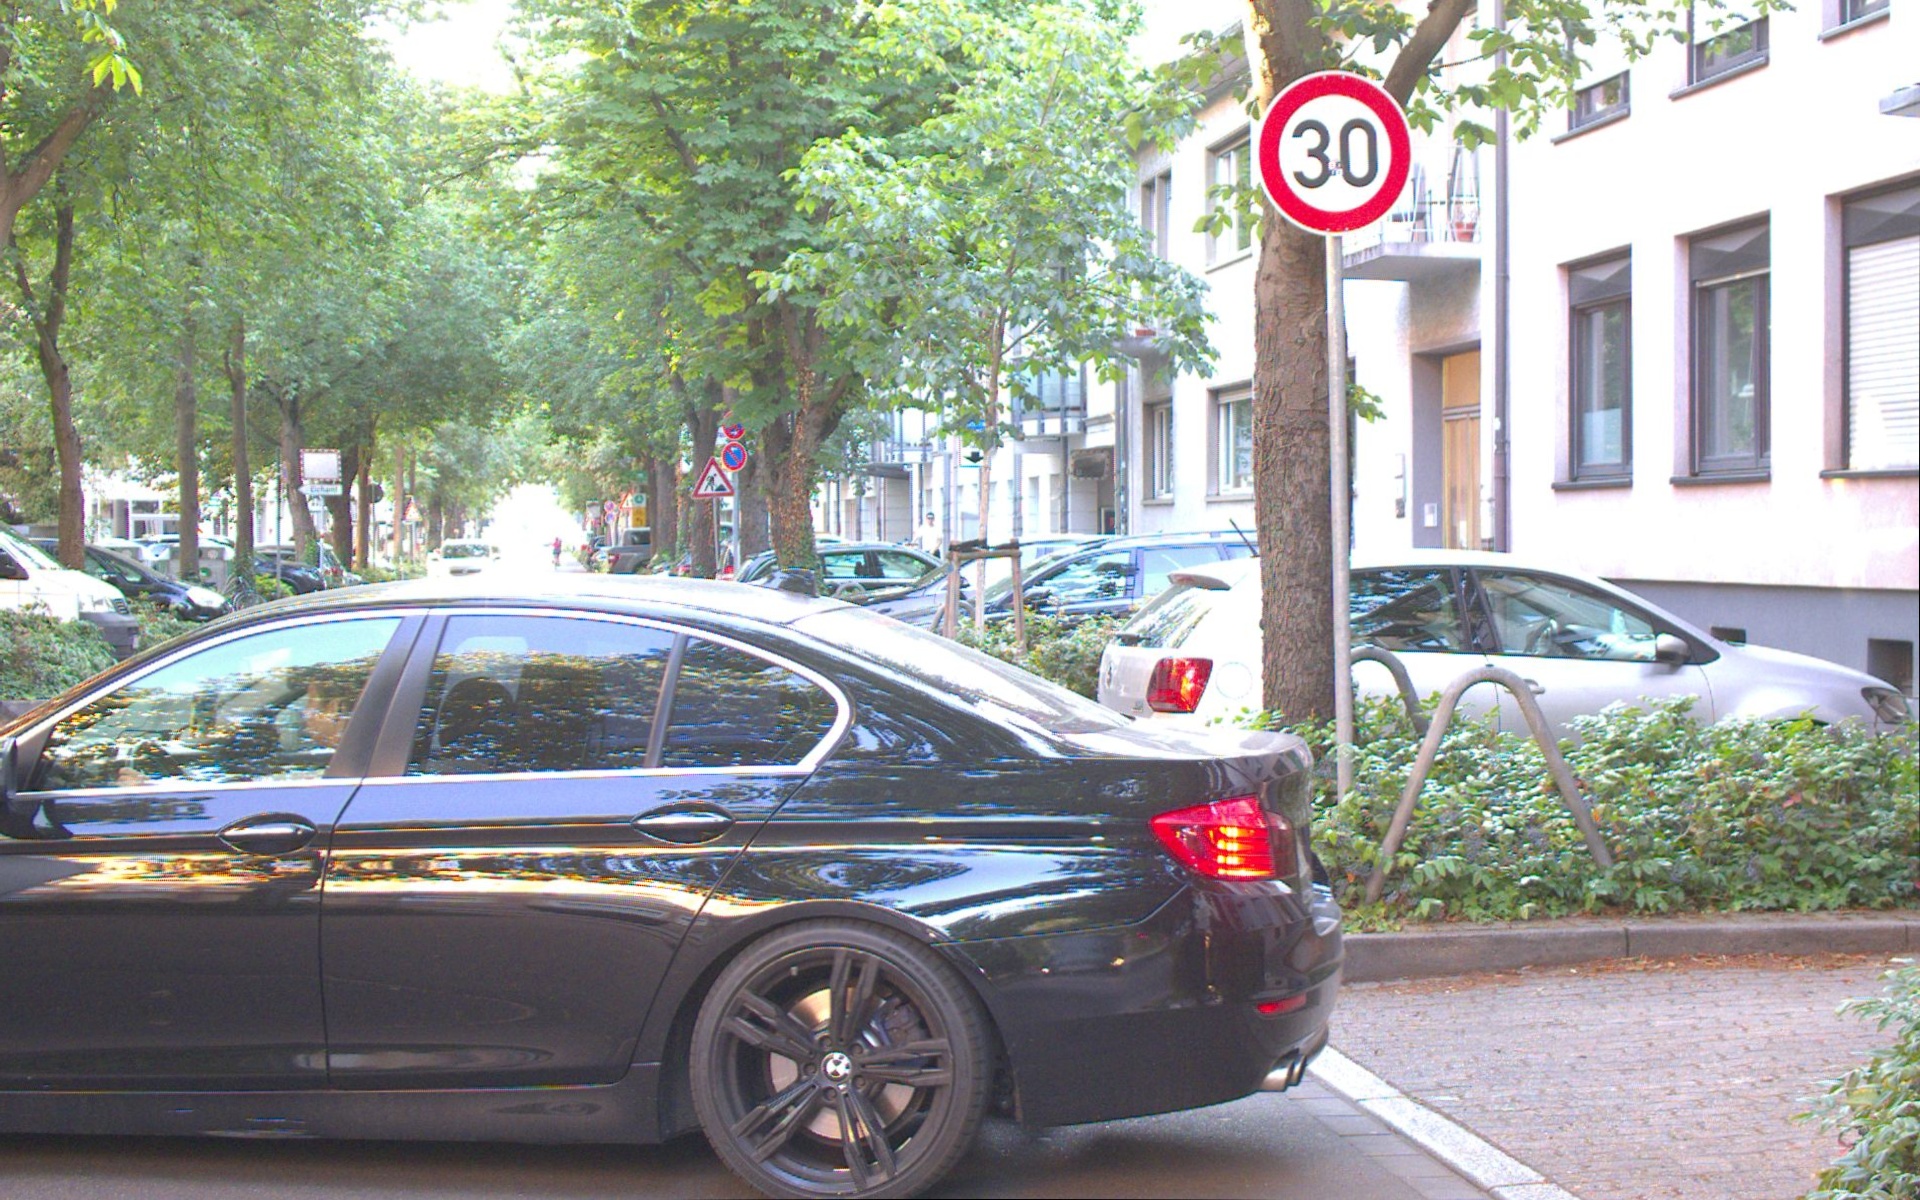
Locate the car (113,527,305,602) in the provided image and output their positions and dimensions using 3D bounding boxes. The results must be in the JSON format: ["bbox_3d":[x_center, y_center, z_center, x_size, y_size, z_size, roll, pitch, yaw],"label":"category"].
[{"bbox_3d":[-16.607,-0.805,76.144,3.967,1.614,1.785,0,1,-5],"label":"car"}]

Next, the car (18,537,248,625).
[{"bbox_3d":[-15.480,-0.371,64.506,3.967,1.614,1.785,0,1,-5],"label":"car"}]

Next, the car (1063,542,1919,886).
[{"bbox_3d":[2.557,0.480,16.076,3.908,1.471,1.665,-1,1,-8],"label":"car"}]

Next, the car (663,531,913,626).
[{"bbox_3d":[-2.862,-0.370,56.824,3.967,1.522,1.785,-1,1,-8],"label":"car"}]

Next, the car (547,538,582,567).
[{"bbox_3d":[-21.590,-2.580,187.685,1.822,1.525,4.001,-1,1,-6],"label":"car"}]

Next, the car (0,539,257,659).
[{"bbox_3d":[-11.939,-0.030,48.042,3.967,1.614,1.785,0,1,-6],"label":"car"}]

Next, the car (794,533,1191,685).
[{"bbox_3d":[0.308,0.069,36.150,3.967,1.522,1.785,0,1,-7],"label":"car"}]

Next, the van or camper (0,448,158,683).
[{"bbox_3d":[-11.140,-0.376,37.043,4.662,2.470,2.000,0,1,-7],"label":"van or camper"}]

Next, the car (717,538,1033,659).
[{"bbox_3d":[-1.145,-0.041,44.960,3.967,1.522,1.785,0,1,-7],"label":"car"}]

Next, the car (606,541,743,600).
[{"bbox_3d":[-8.373,-0.867,100.775,3.967,1.678,1.785,0,1,-5],"label":"car"}]

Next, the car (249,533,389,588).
[{"bbox_3d":[-19.100,-1.189,102.538,3.967,1.614,1.785,0,1,-5],"label":"car"}]

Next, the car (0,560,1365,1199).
[{"bbox_3d":[-1.377,0.653,8.637,4.746,1.475,1.800,0,1,7],"label":"car"}]

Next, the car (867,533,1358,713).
[{"bbox_3d":[1.277,0.167,29.684,3.967,1.471,1.785,-1,1,-8],"label":"car"}]

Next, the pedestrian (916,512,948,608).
[{"bbox_3d":[-0.590,-0.849,72.350,0.589,2.007,0.669,0,1,-5],"label":"pedestrian"}]

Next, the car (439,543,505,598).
[{"bbox_3d":[-14.507,-0.896,102.263,1.779,1.557,4.169,0,1,-6],"label":"car"}]
